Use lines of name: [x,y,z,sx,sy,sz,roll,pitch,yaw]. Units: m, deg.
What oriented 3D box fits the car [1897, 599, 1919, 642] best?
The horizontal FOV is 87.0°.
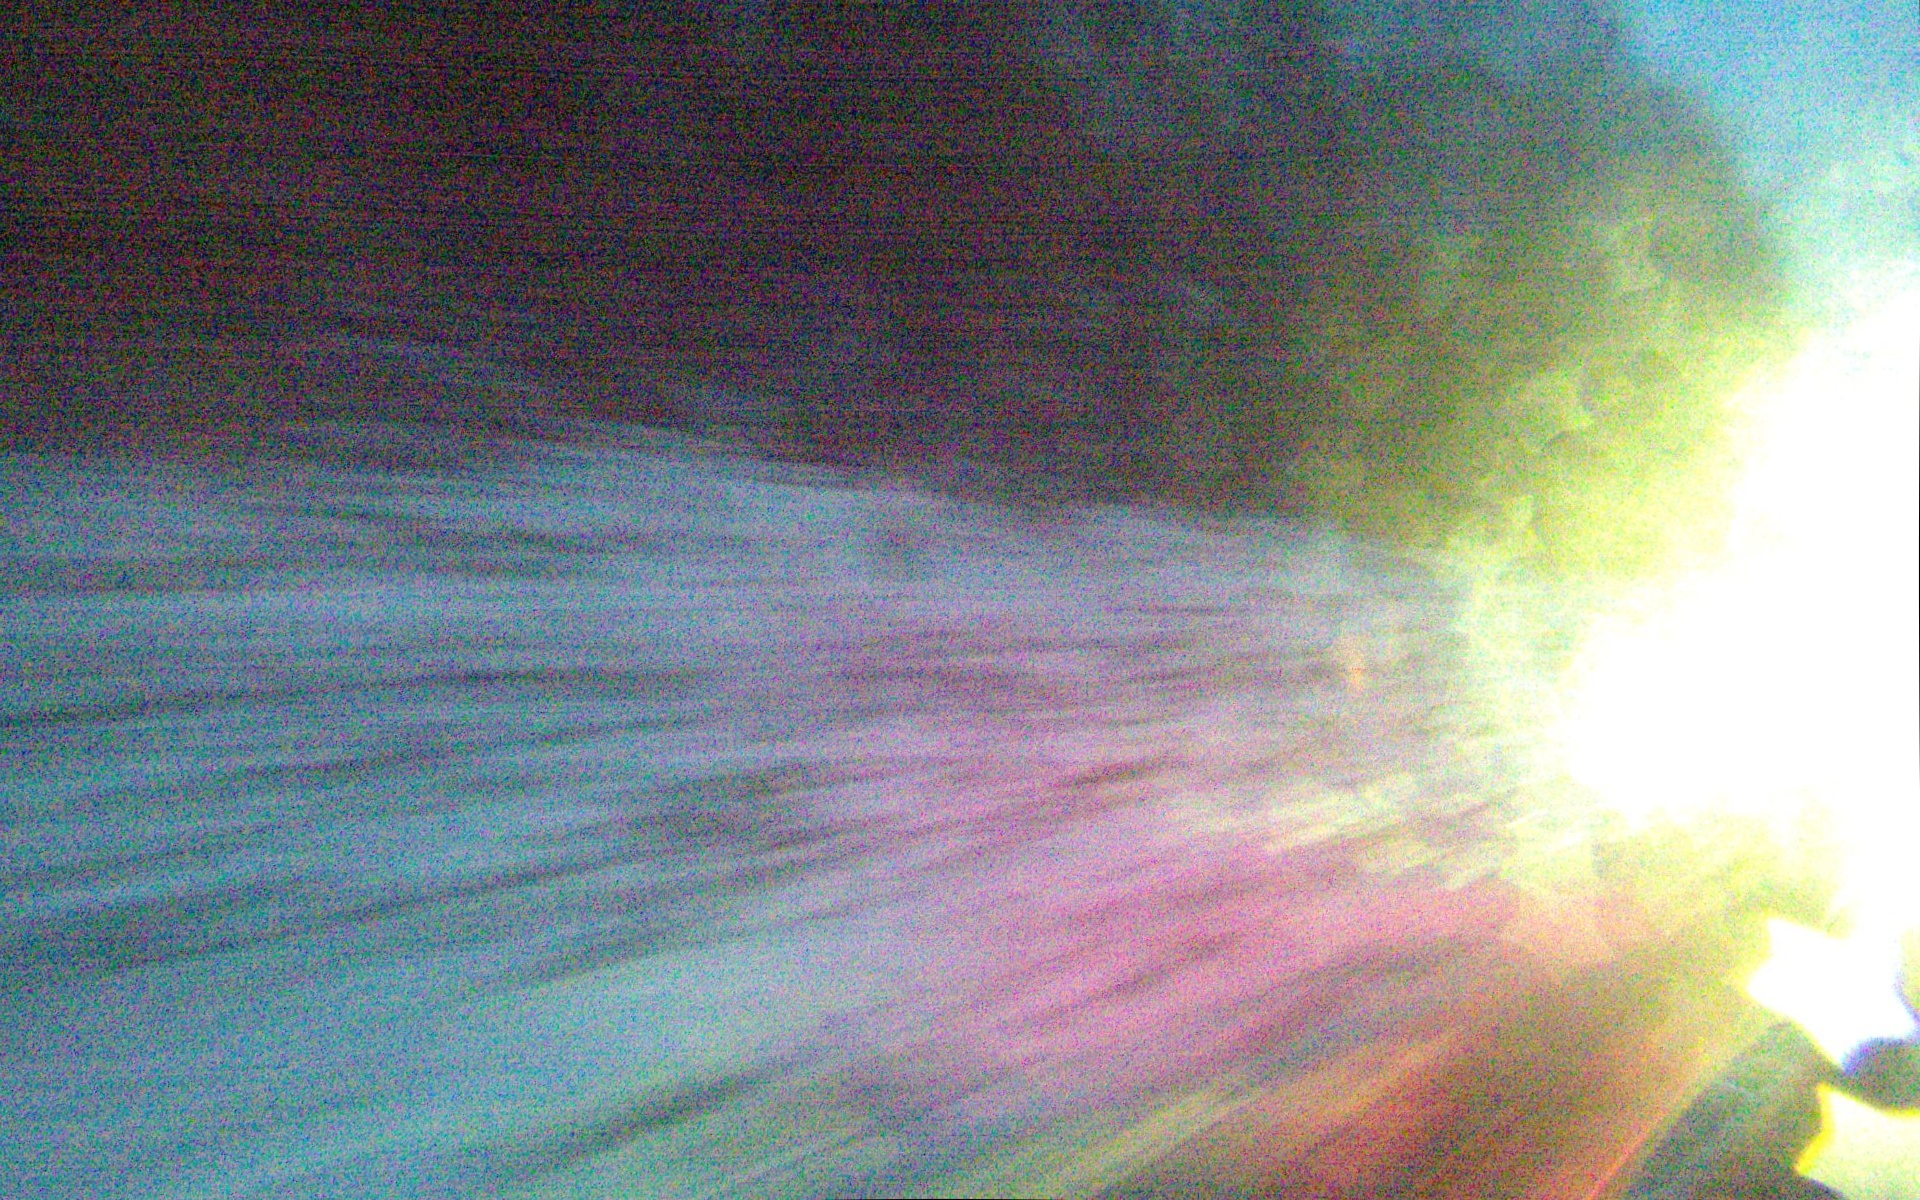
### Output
car: [35.997,0.749,37.314,1.992,1.438,3.941,1,2,41]
